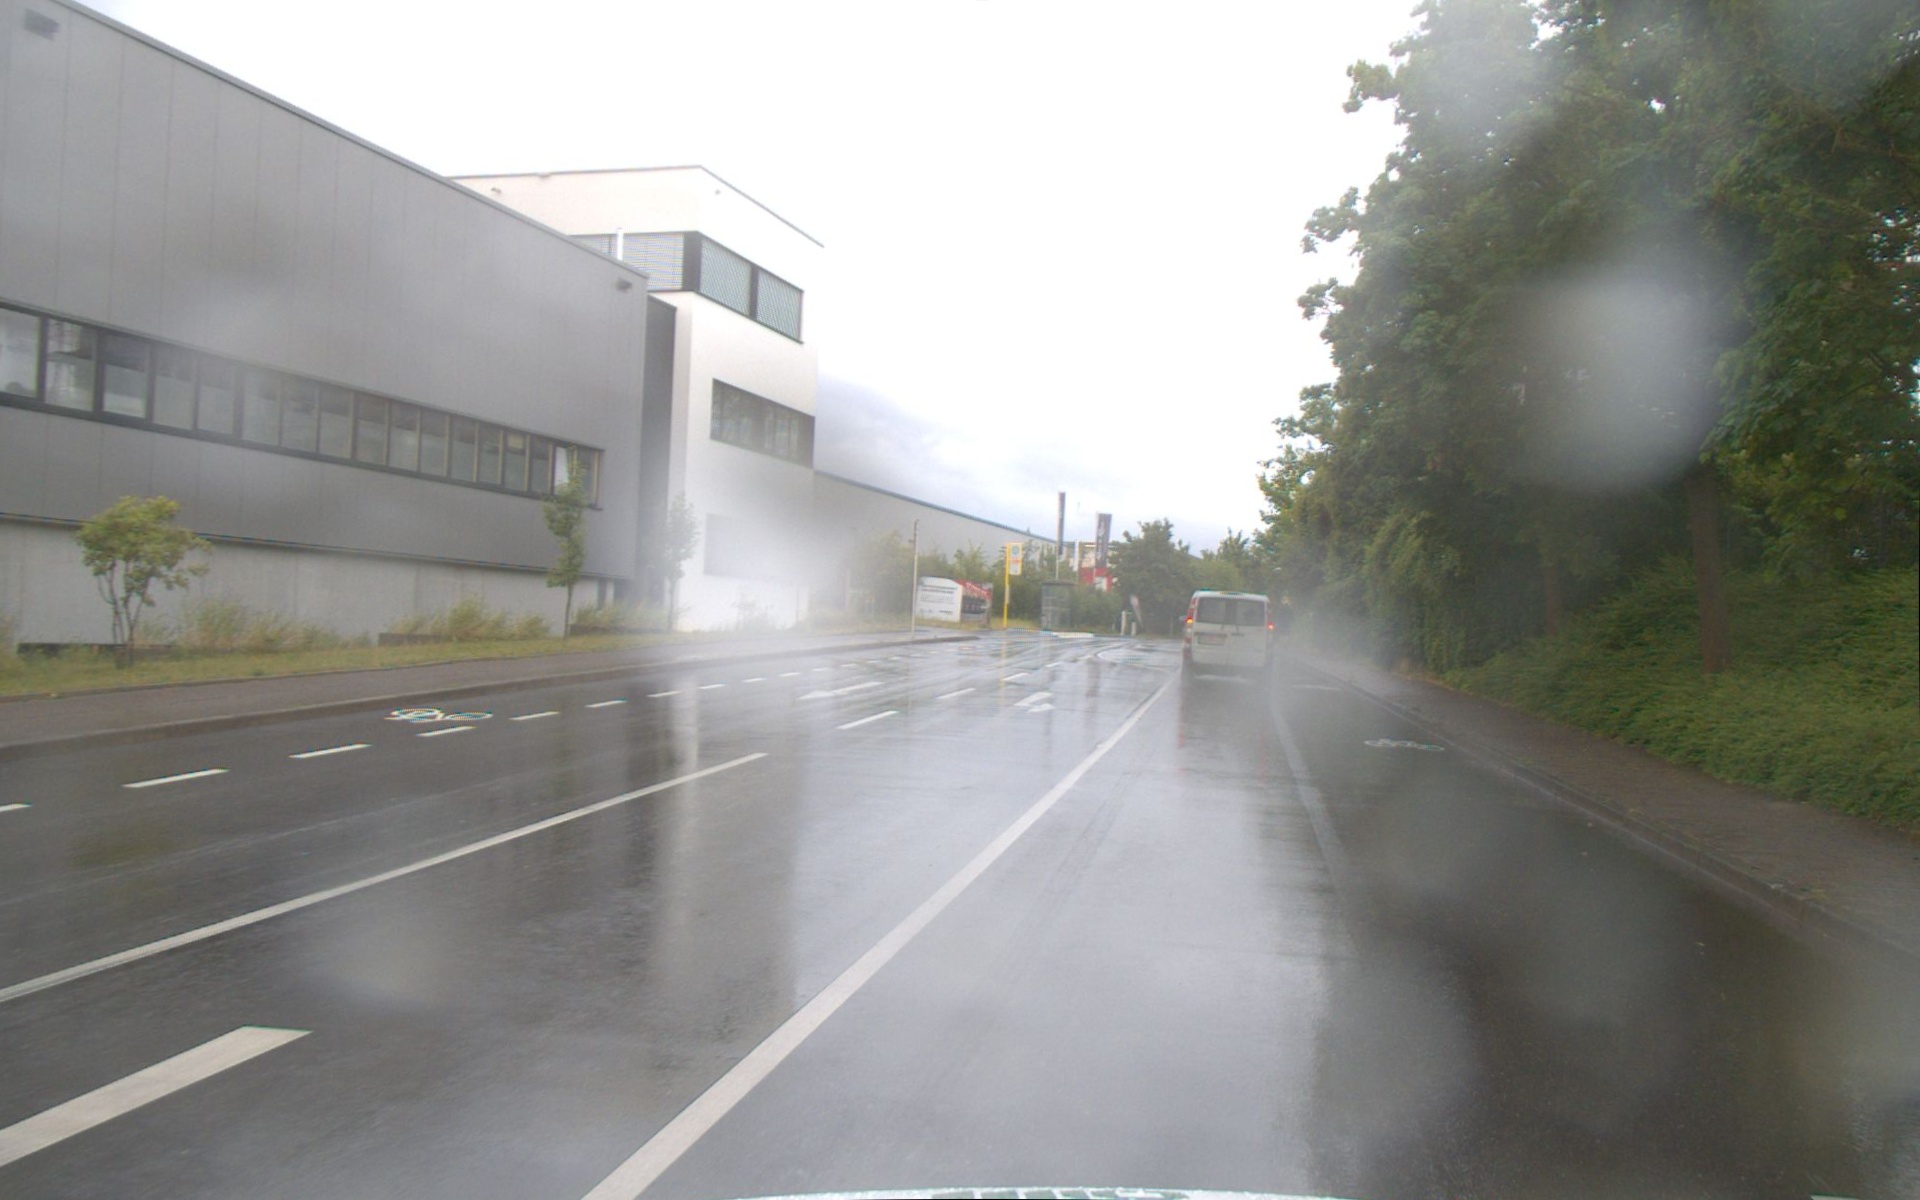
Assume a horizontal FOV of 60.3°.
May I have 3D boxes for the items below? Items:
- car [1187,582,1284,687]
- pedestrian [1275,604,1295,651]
[{"bbox_3d":[5.829,0.699,35.029,1.858,2.053,5.377,0,-1,9],"label":"car"},{"bbox_3d":[13.531,1.140,68.801,0.760,1.940,0.729,-1,-2,8],"label":"pedestrian"}]
